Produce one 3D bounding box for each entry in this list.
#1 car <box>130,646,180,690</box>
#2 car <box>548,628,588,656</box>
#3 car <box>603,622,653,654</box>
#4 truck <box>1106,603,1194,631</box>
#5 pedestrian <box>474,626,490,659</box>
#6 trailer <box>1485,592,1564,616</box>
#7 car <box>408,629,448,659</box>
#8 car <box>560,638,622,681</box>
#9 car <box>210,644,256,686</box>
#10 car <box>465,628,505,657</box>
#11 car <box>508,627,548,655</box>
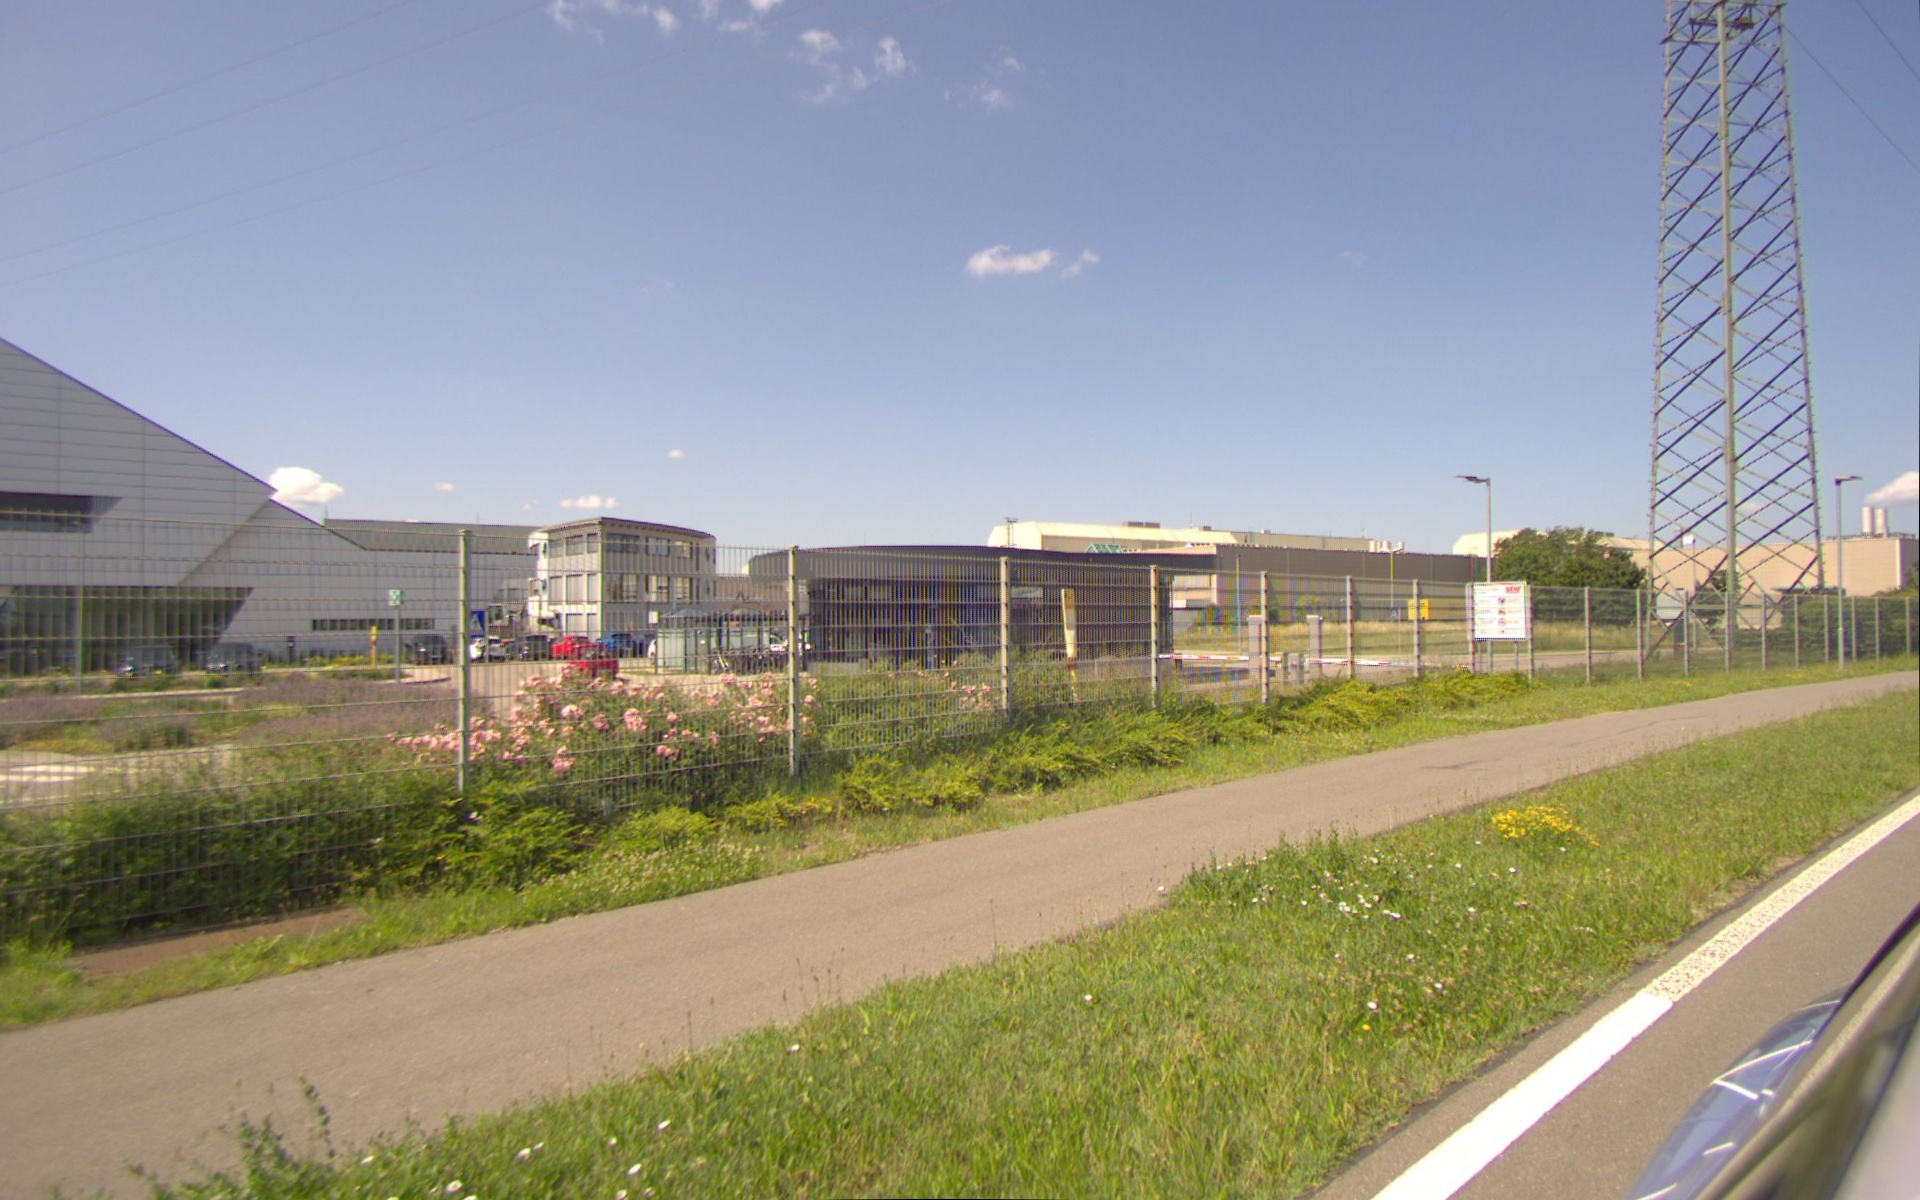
[{"bbox_3d":[-31.470,2.631,39.617,1.444,1.554,3.055,0,-1,-37],"label":"car"},{"bbox_3d":[-23.557,2.495,60.807,1.444,1.554,3.055,0,-1,-37],"label":"car"},{"bbox_3d":[-22.067,2.492,67.185,1.961,2.040,4.753,0,-2,-34],"label":"car"},{"bbox_3d":[21.615,1.941,114.708,11.620,3.000,2.000,0,-2,-33],"label":"truck"},{"bbox_3d":[-25.913,2.302,54.863,0.674,1.767,0.612,0,0,-38],"label":"pedestrian"},{"bbox_3d":[70.363,0.442,125.934,13.817,2.746,2.002,-1,1,-31],"label":"trailer"},{"bbox_3d":[-29.205,2.406,55.550,1.444,1.554,3.055,0,-1,-37],"label":"car"},{"bbox_3d":[-14.694,2.336,40.242,1.429,1.554,3.149,0,-1,-38],"label":"car"},{"bbox_3d":[-29.653,2.603,41.249,1.444,1.554,3.055,0,-1,-37],"label":"car"},{"bbox_3d":[-26.733,2.381,56.937,1.444,1.554,3.055,0,-1,-37],"label":"car"},{"bbox_3d":[-25.196,2.366,58.946,1.444,1.554,3.055,0,-1,-37],"label":"car"}]
